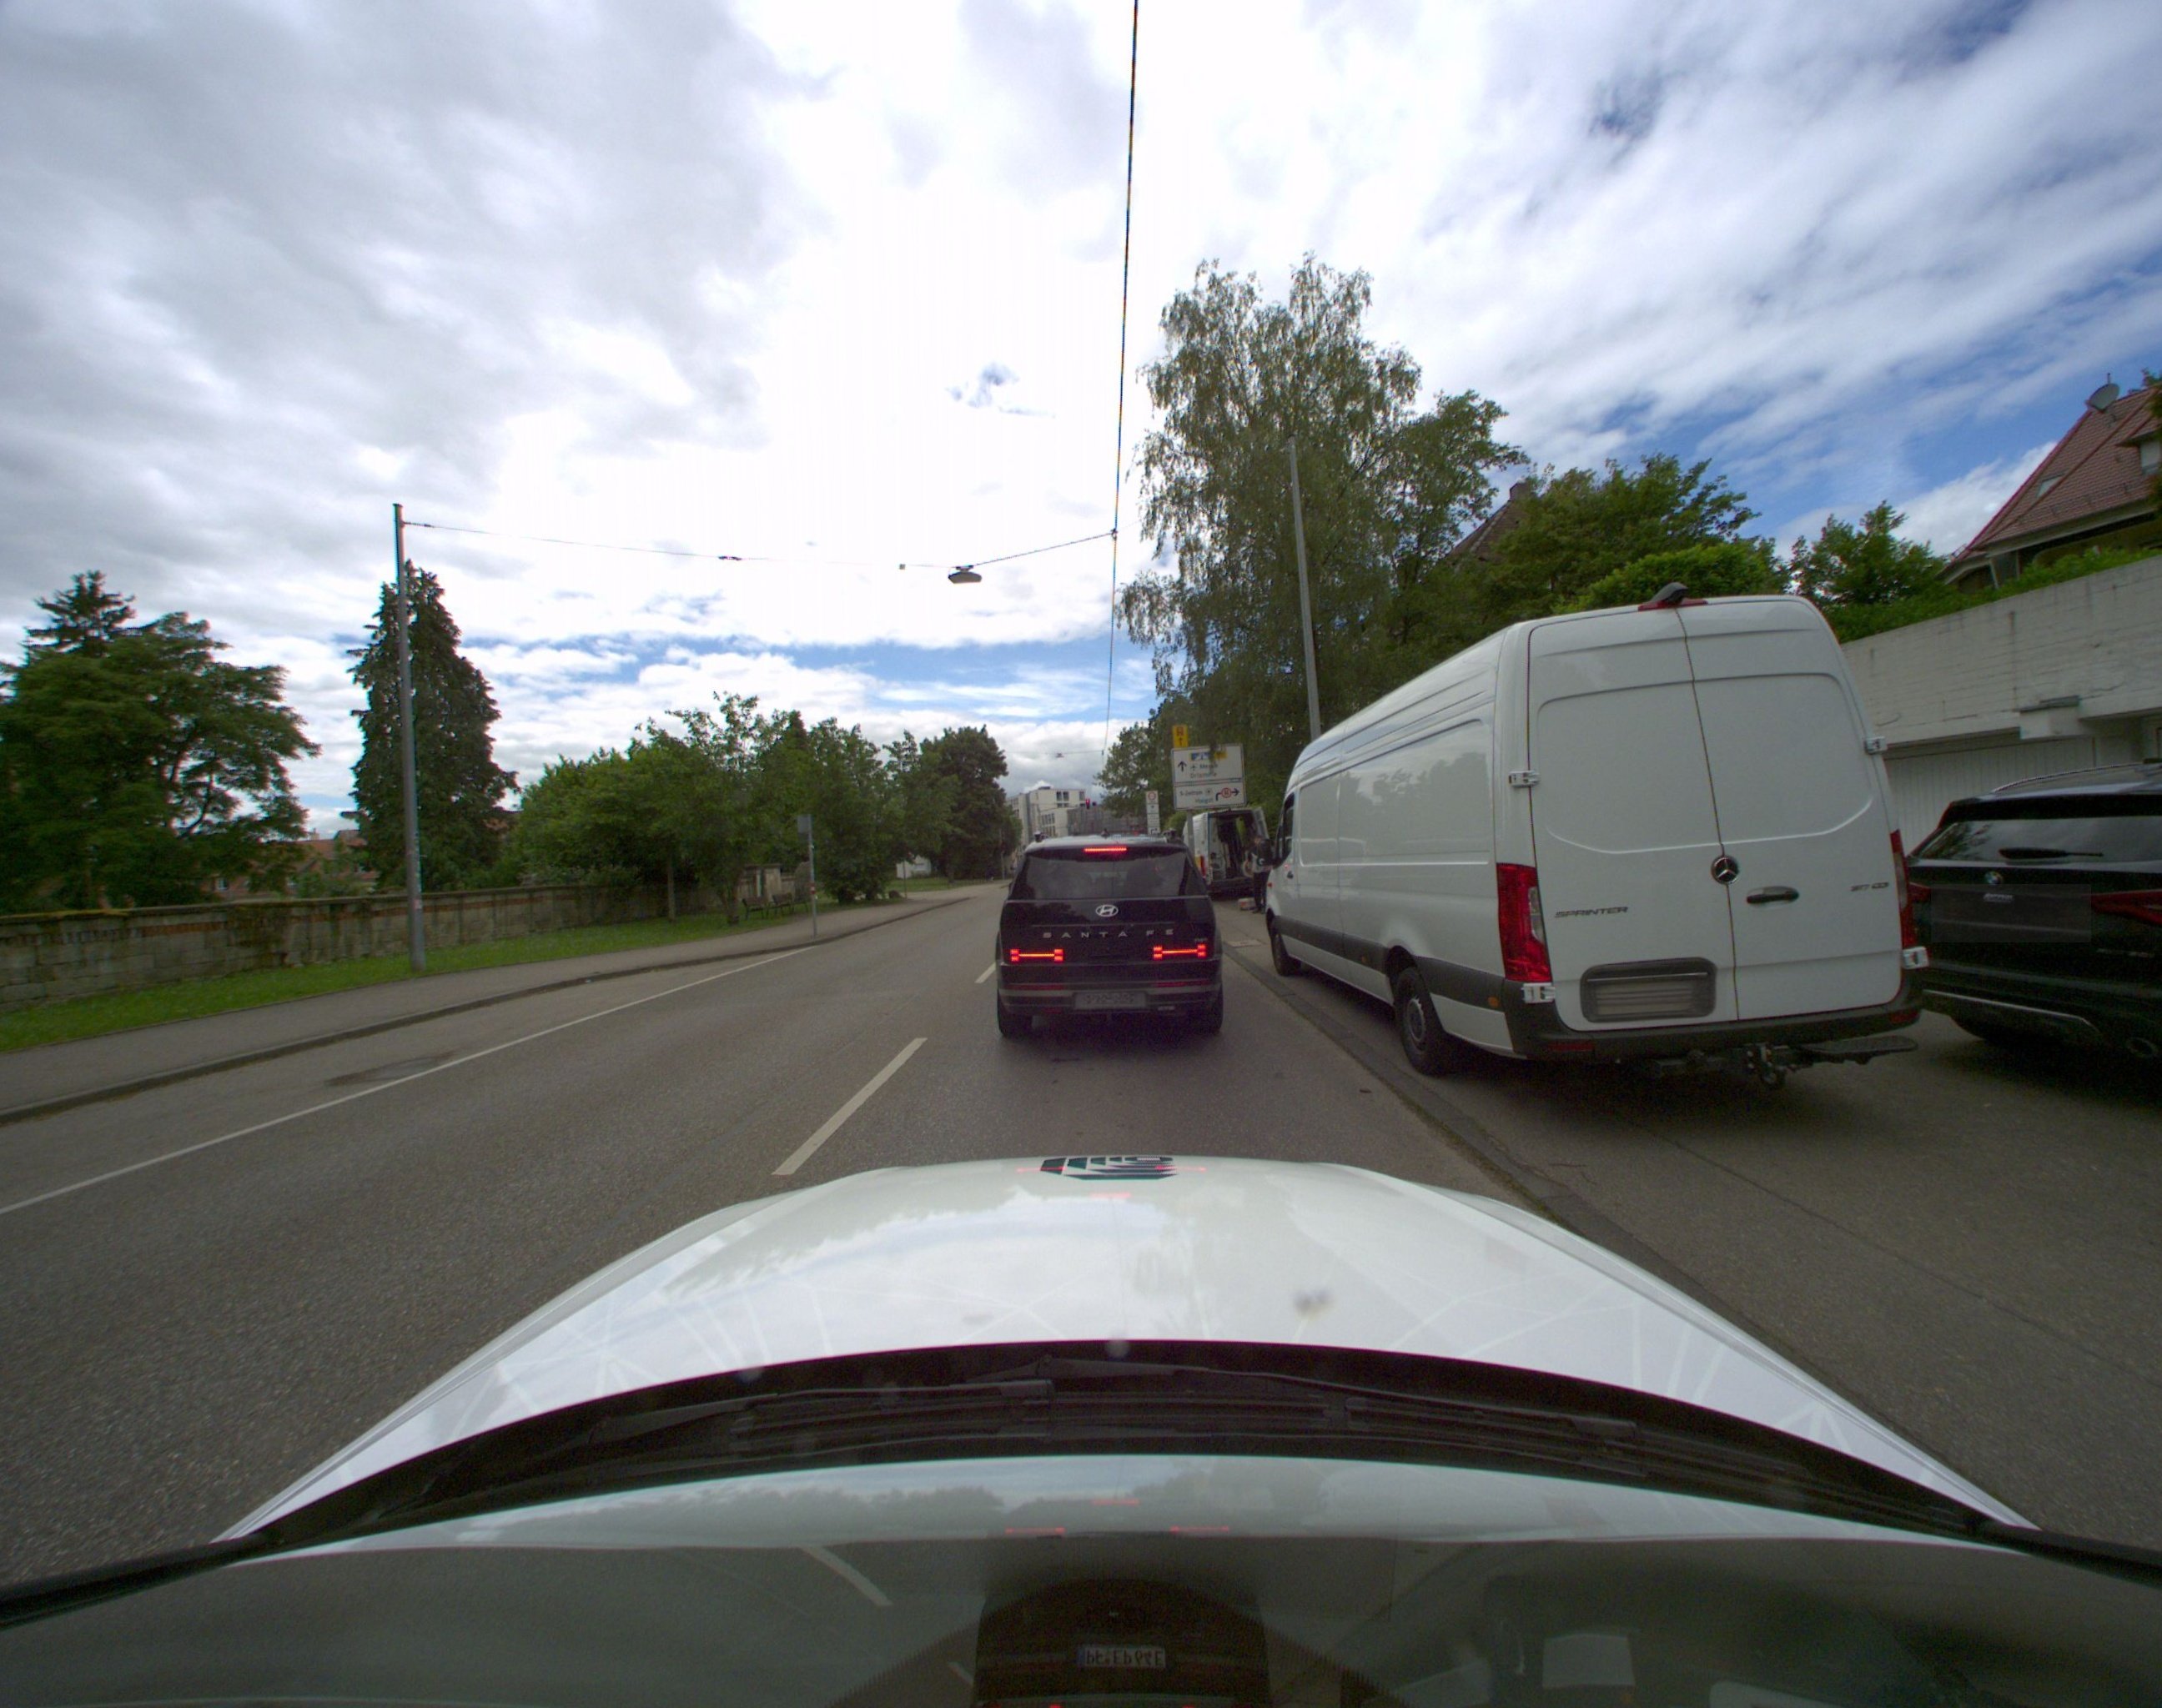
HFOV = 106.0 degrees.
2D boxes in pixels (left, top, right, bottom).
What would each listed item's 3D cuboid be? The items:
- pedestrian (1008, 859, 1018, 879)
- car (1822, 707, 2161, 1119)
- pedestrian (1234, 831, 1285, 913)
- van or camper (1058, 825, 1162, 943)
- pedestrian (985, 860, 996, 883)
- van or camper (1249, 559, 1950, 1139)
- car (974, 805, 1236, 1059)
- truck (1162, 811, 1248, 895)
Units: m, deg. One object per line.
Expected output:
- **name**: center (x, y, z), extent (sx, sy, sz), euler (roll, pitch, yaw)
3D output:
- **pedestrian**: center (-6.156, 1.371, 73.740), extent (0.737, 1.715, 0.791), euler (-3, -1, -5)
- **car**: center (6.823, 0.143, 4.120), extent (4.398, 1.750, 1.739), euler (-3, 0, 3)
- **pedestrian**: center (4.019, 0.393, 18.341), extent (0.750, 1.797, 0.878), euler (-3, -1, 36)
- **van or camper**: center (0.578, 0.538, 16.504), extent (1.748, 2.013, 4.002), euler (-3, 0, 2)
- **pedestrian**: center (-6.861, 1.313, 62.063), extent (0.737, 1.715, 0.791), euler (-3, -1, -5)
- **van or camper**: center (3.095, -0.013, 7.091), extent (1.986, 2.620, 6.543), euler (-3, 0, 2)
- **car**: center (0.241, 0.580, 7.990), extent (1.883, 1.819, 4.002), euler (-1, 0, 2)
- **truck**: center (4.269, 0.010, 28.892), extent (1.937, 2.561, 5.213), euler (-5, -1, -1)
